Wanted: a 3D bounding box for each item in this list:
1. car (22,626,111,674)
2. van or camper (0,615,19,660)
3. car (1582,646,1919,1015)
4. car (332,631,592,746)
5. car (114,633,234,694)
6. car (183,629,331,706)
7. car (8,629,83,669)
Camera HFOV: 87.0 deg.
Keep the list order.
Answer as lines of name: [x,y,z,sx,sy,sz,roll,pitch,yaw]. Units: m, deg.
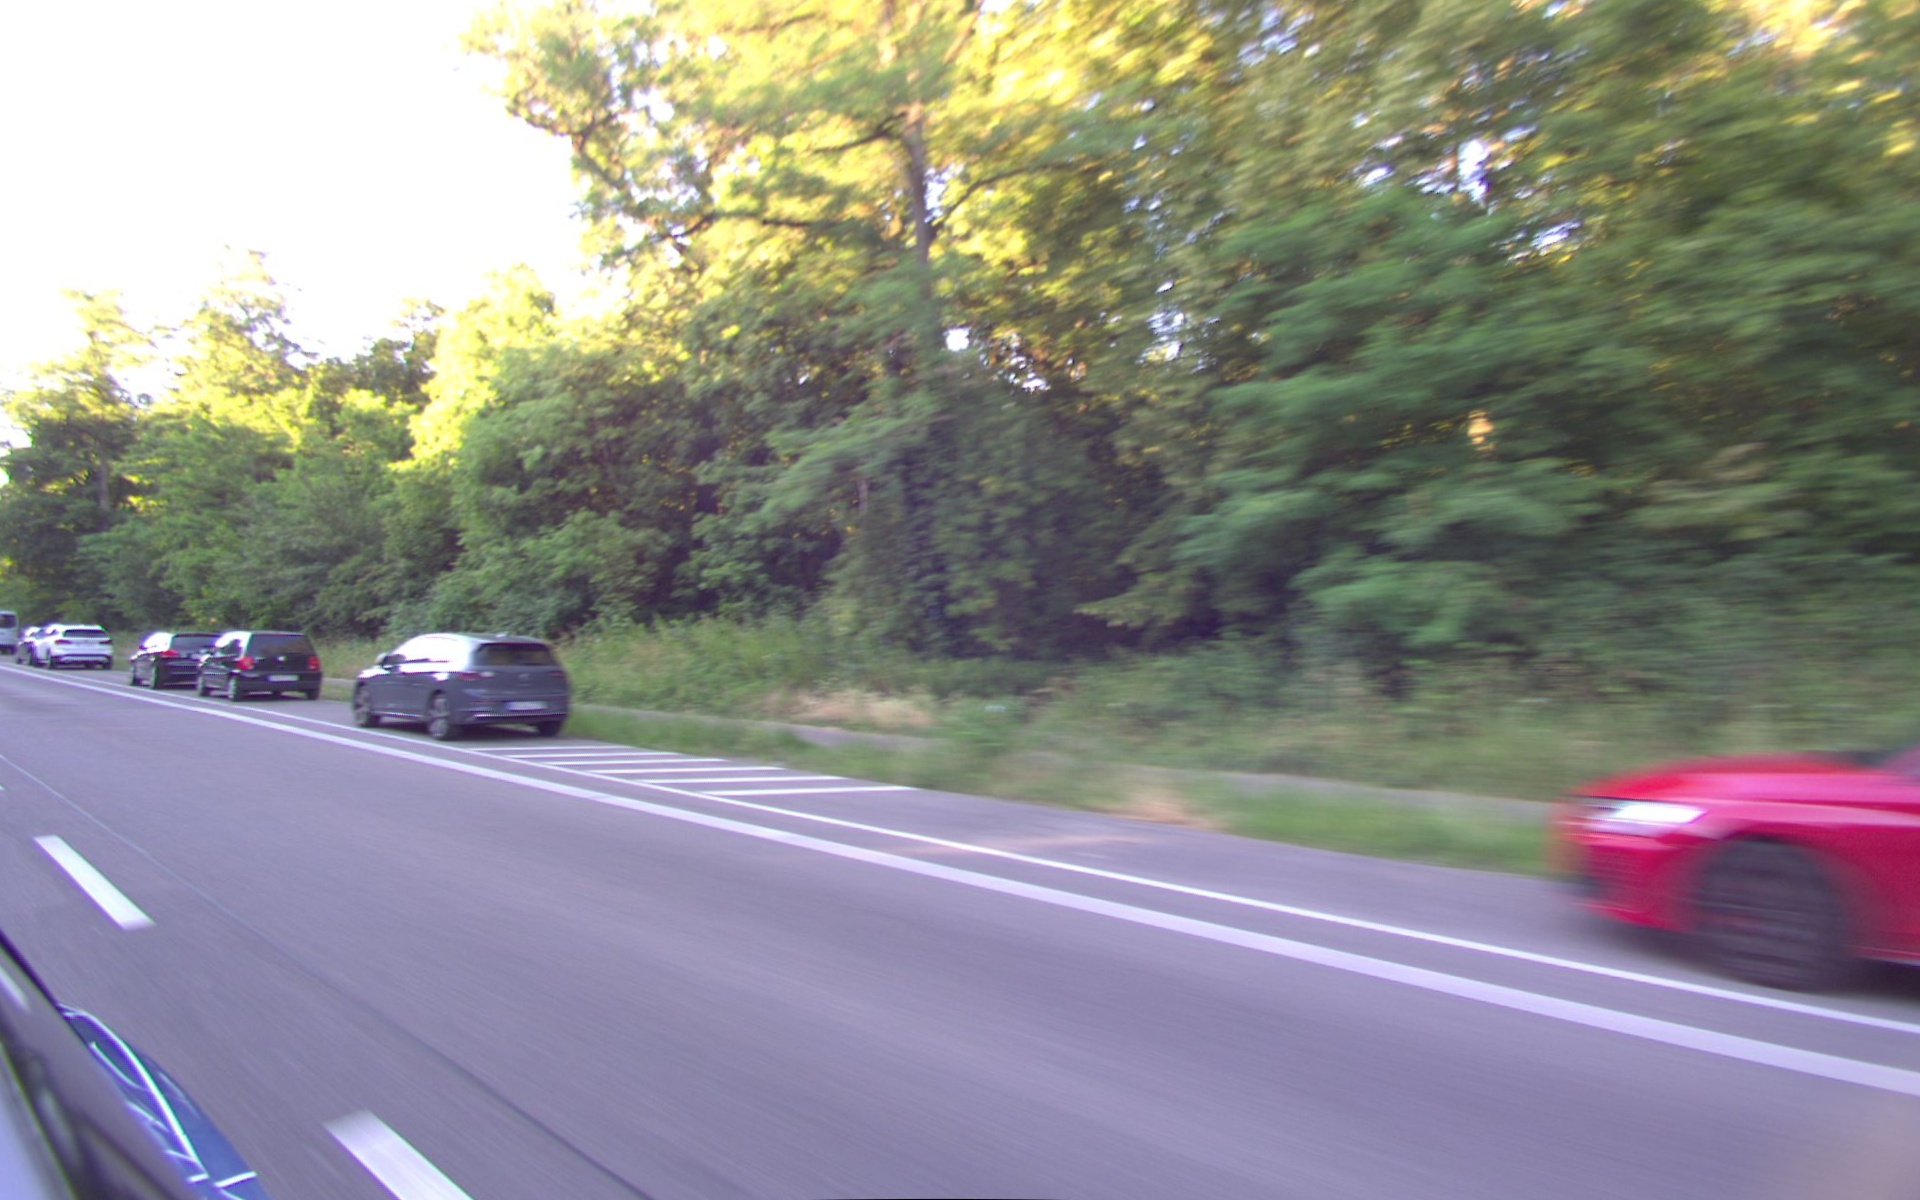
car: [-32.772,1.798,37.085,4.568,1.658,1.678,-2,-4,39]
van or camper: [-53.546,2.017,55.387,6.376,2.409,2.089,-2,-5,40]
car: [5.149,0.934,3.962,4.387,1.441,1.697,-1,-3,42]
car: [-7.486,1.237,15.062,4.224,1.474,1.827,-2,-4,39]
car: [-19.903,1.552,25.575,4.049,1.405,1.581,-2,-3,41]
car: [-15.182,1.410,21.795,3.654,1.520,1.694,-2,-4,41]
car: [-36.687,1.958,40.580,3.732,1.532,1.655,-2,-4,39]
